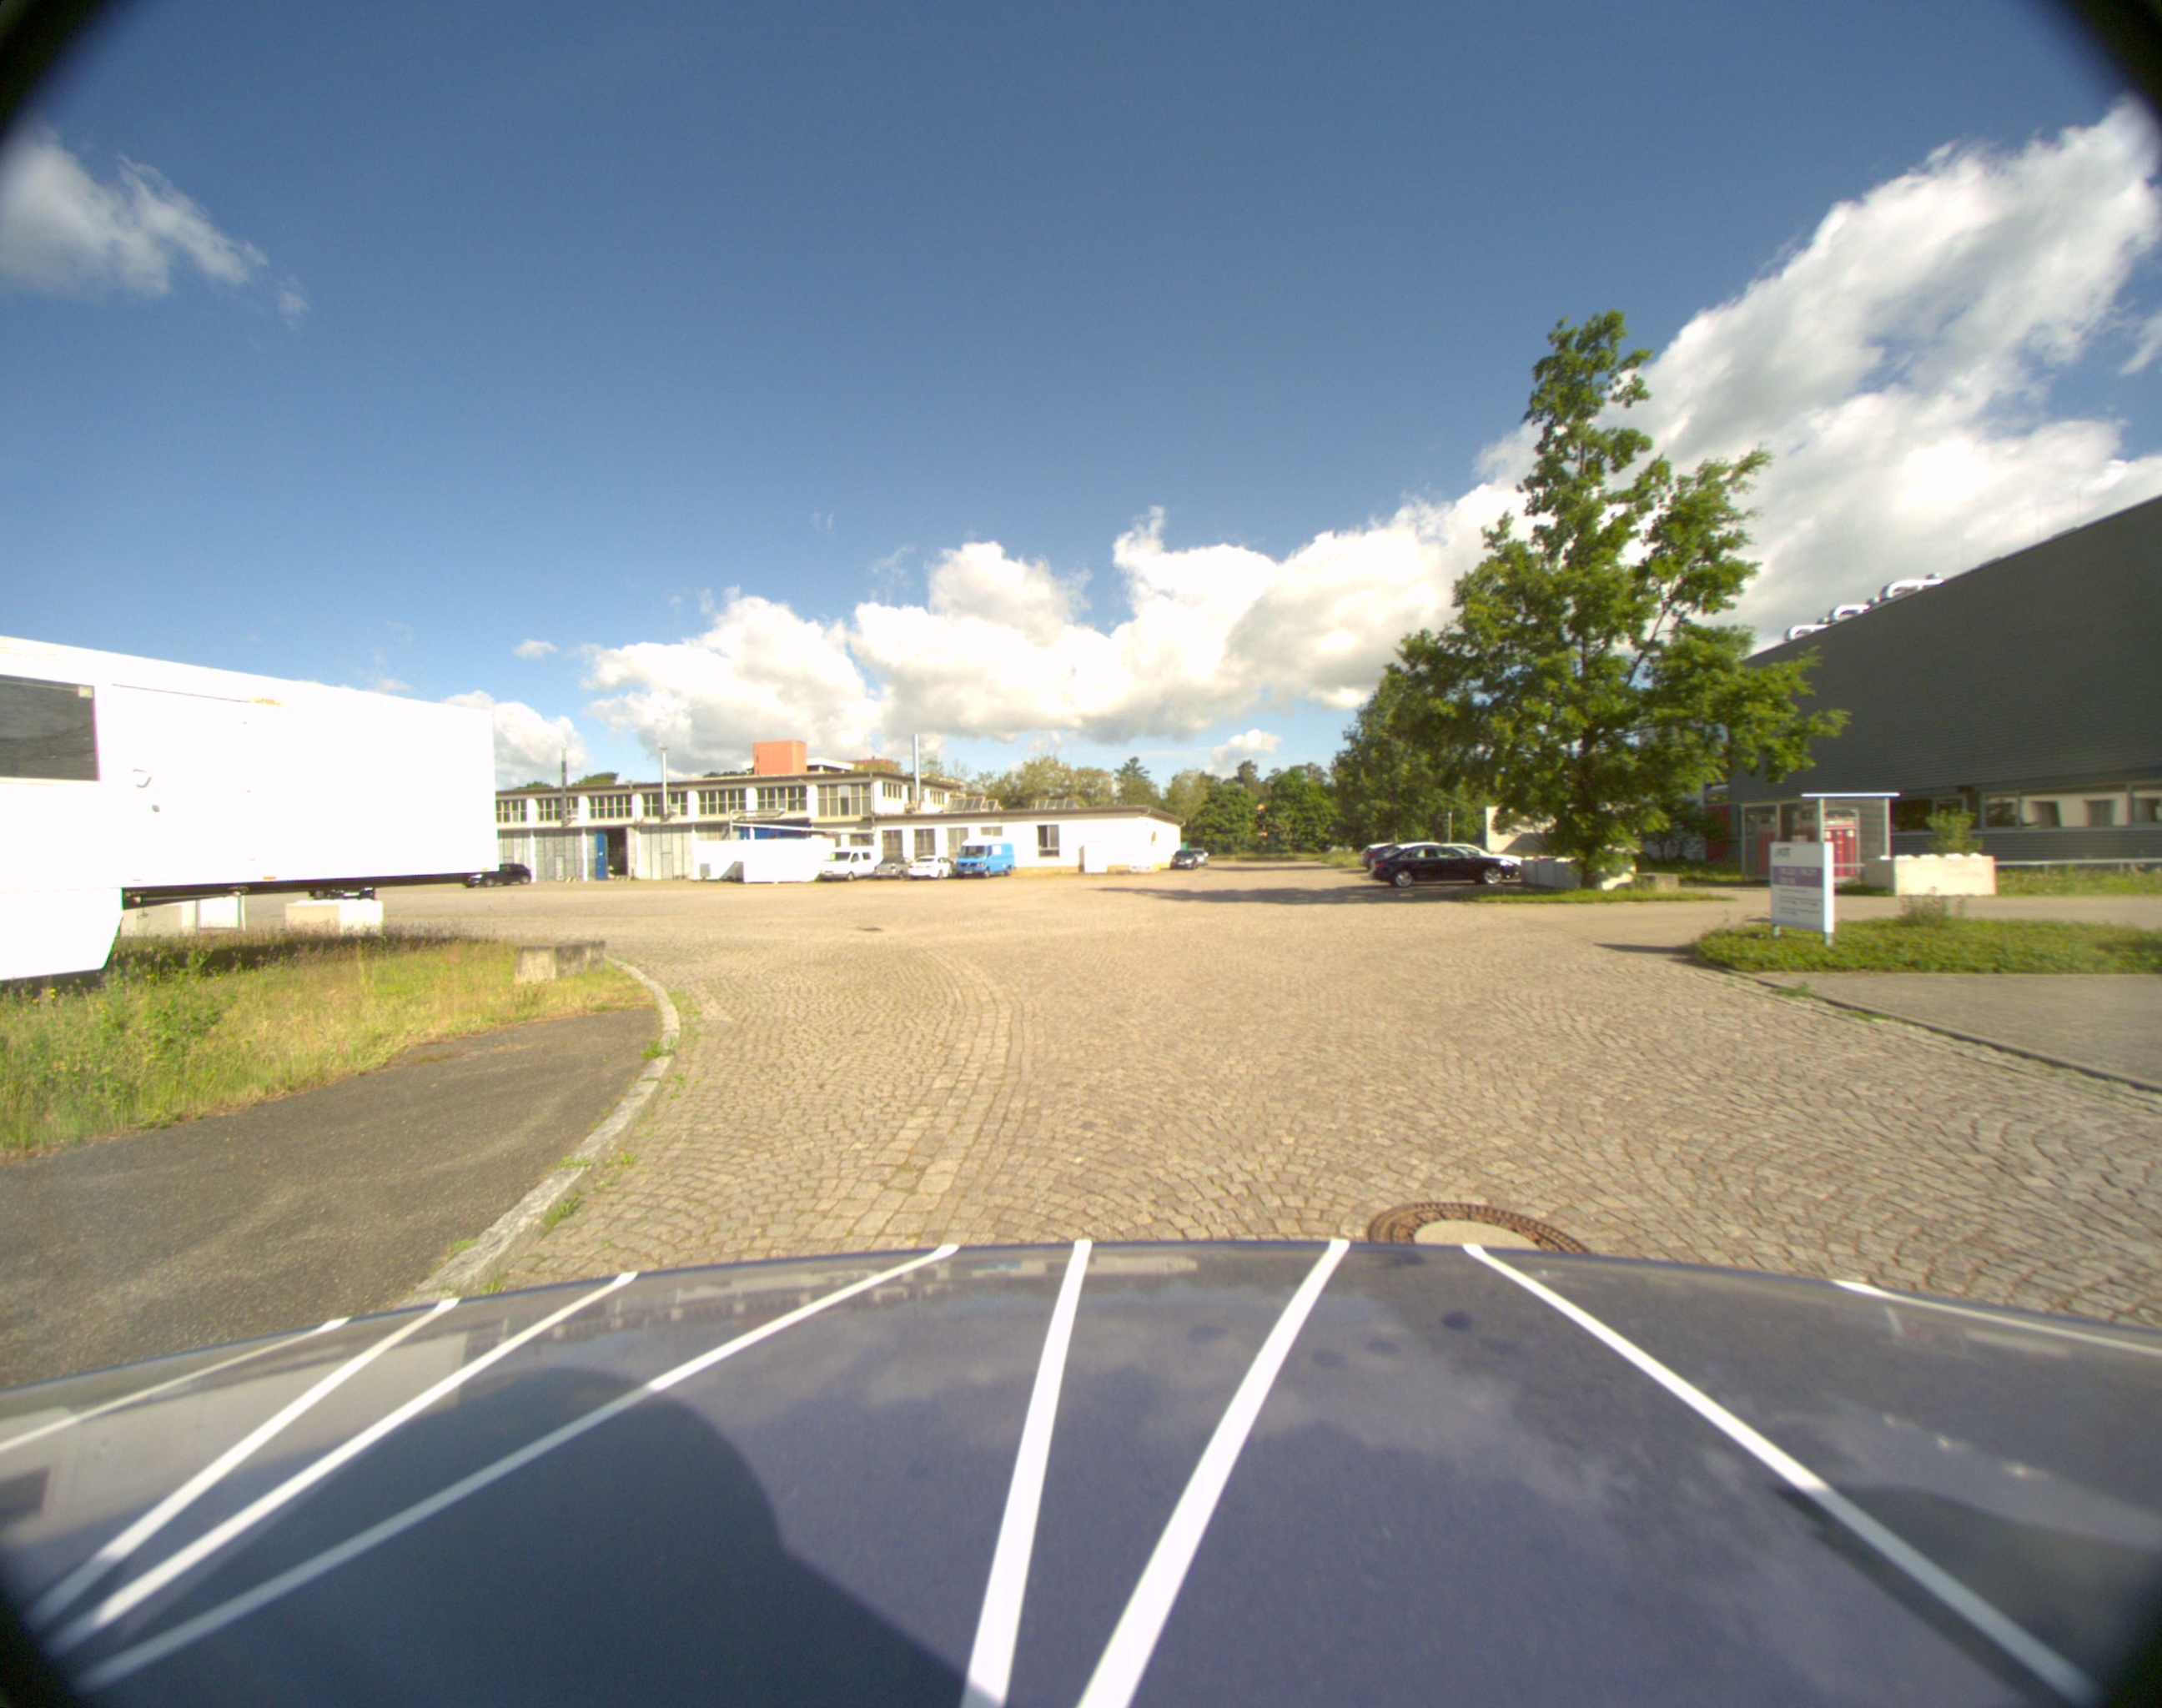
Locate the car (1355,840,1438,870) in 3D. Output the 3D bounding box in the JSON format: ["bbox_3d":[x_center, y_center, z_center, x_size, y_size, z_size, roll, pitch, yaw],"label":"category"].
[{"bbox_3d":[17.171,0.053,41.554,3.918,1.427,1.797,-3,0,14],"label":"car"}]

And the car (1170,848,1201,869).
[{"bbox_3d":[7.641,0.325,55.315,1.766,1.427,3.996,-1,1,14],"label":"car"}]

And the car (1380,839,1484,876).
[{"bbox_3d":[15.628,0.146,34.051,3.918,1.438,1.757,-3,0,14],"label":"car"}]

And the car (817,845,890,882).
[{"bbox_3d":[-14.198,0.524,47.692,2.006,2.070,4.809,-2,1,17],"label":"car"}]

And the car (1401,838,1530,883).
[{"bbox_3d":[14.491,0.251,28.872,4.143,1.451,1.693,-3,0,19],"label":"car"}]

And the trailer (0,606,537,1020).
[{"bbox_3d":[-11.553,-0.352,7.219,2.776,3.888,10.898,-1,0,16],"label":"trailer"}]

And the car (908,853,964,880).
[{"bbox_3d":[-8.711,0.738,45.971,1.734,1.398,3.742,-2,2,16],"label":"car"}]

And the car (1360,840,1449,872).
[{"bbox_3d":[16.527,0.106,38.977,3.918,1.409,1.694,-3,0,14],"label":"car"}]

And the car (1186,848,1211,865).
[{"bbox_3d":[10.124,0.188,65.244,1.689,1.427,3.991,-1,1,14],"label":"car"}]

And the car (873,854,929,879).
[{"bbox_3d":[-11.208,0.765,47.562,1.689,1.390,3.836,-1,1,16],"label":"car"}]

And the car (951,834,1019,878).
[{"bbox_3d":[-5.729,0.071,46.223,2.085,2.469,5.245,-2,0,17],"label":"car"}]

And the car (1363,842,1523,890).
[{"bbox_3d":[12.531,0.417,26.619,4.726,1.415,1.758,-3,0,13],"label":"car"}]
